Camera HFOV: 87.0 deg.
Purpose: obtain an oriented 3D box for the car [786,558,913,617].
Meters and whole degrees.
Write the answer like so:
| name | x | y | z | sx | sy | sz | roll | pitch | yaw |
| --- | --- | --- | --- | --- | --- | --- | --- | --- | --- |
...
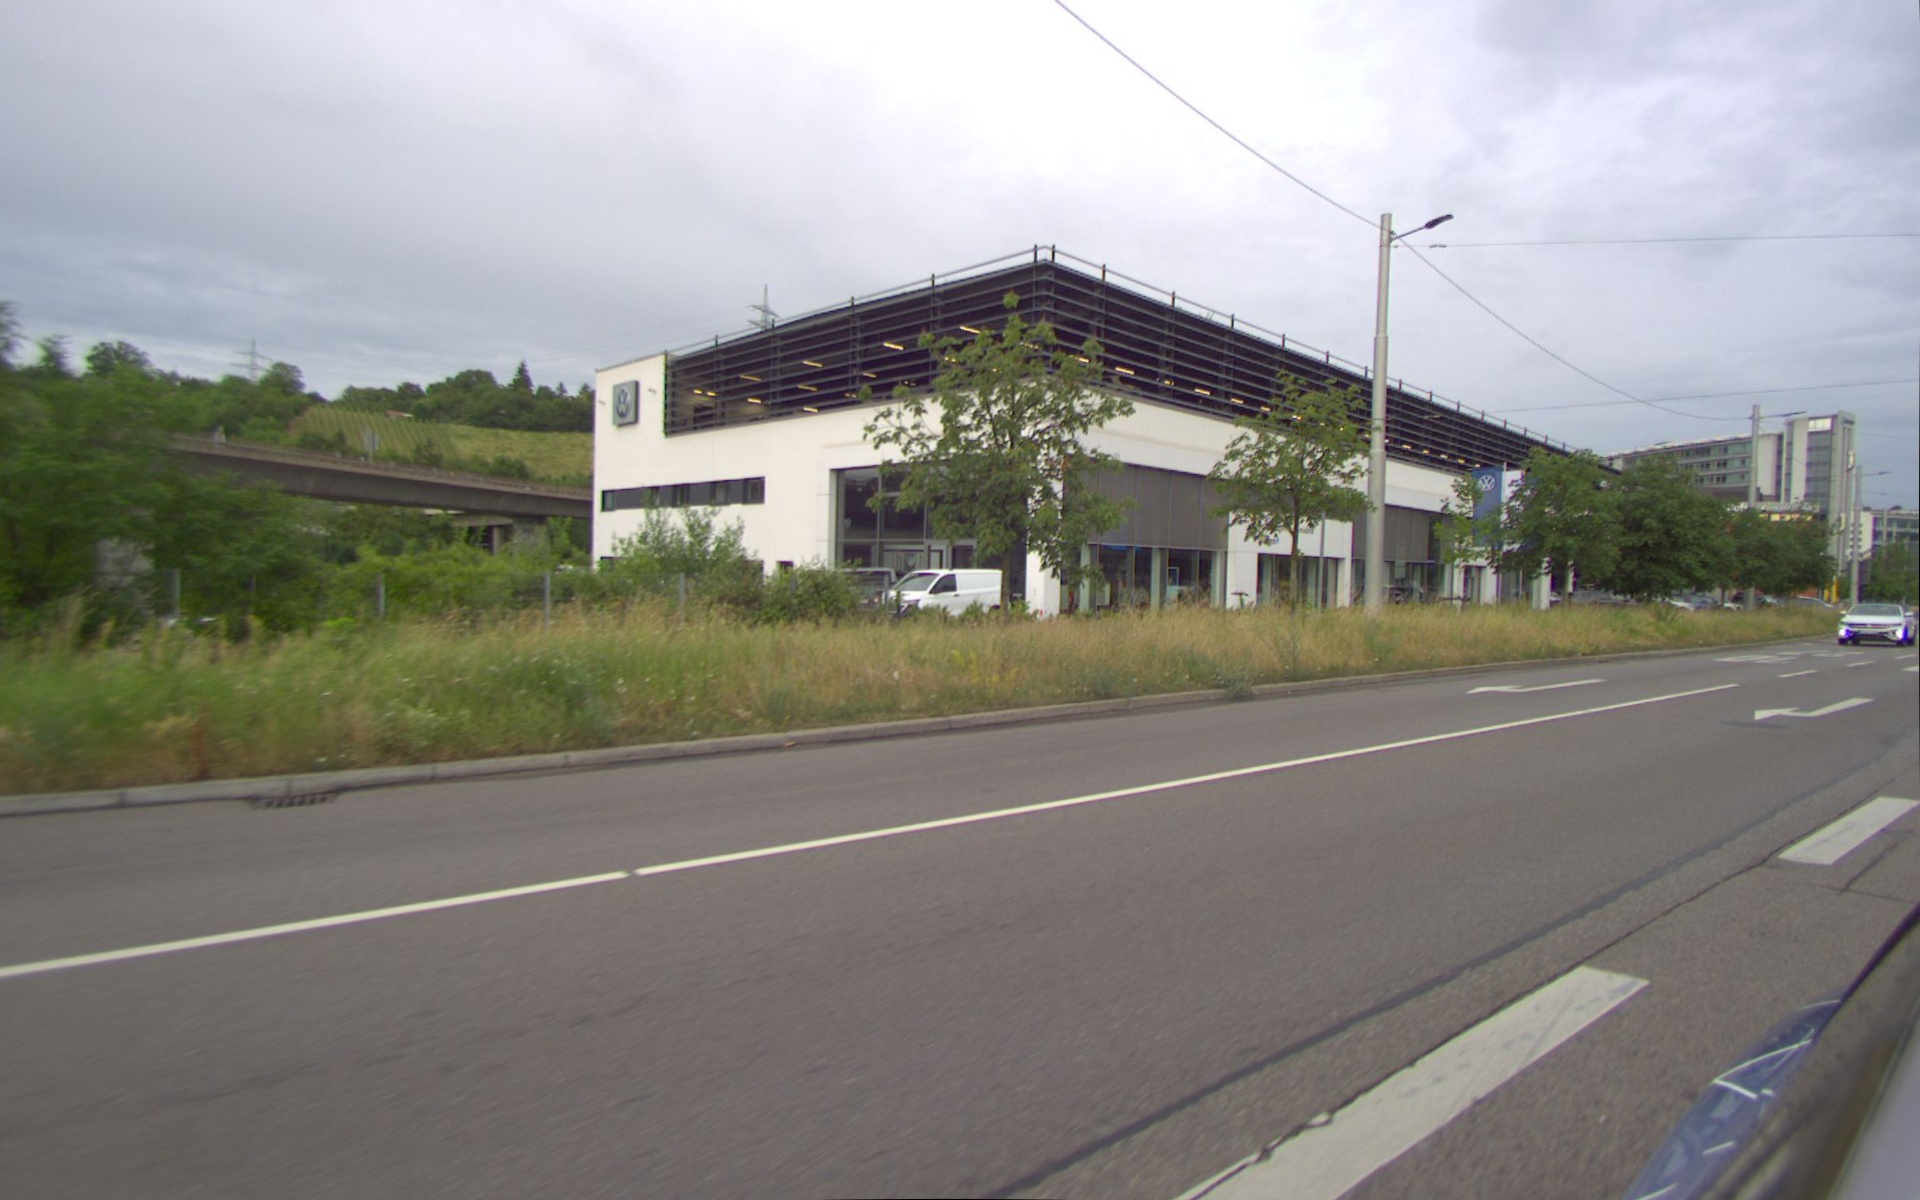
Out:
| name | x | y | z | sx | sy | sz | roll | pitch | yaw |
| --- | --- | --- | --- | --- | --- | --- | --- | --- | --- |
| car | -4.084 | -0.431 | 38.041 | 1.945 | 2.076 | 4.633 | -1 | -1 | 43 |

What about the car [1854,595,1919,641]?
| name | x | y | z | sx | sy | sz | roll | pitch | yaw |
| --- | --- | --- | --- | --- | --- | --- | --- | --- | --- |
| car | 33.036 | 0.619 | 35.740 | 3.772 | 1.513 | 1.876 | 1 | 1 | -44 |

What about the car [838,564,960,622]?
| name | x | y | z | sx | sy | sz | roll | pitch | yaw |
| --- | --- | --- | --- | --- | --- | --- | --- | --- | --- |
| car | -2.098 | -0.218 | 35.348 | 3.933 | 1.924 | 1.995 | 0 | -1 | -44 |

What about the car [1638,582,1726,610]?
| name | x | y | z | sx | sy | sz | roll | pitch | yaw |
| --- | --- | --- | --- | --- | --- | --- | --- | --- | --- |
| car | 46.764 | -0.279 | 65.614 | 4.125 | 1.587 | 1.794 | 3 | 3 | 12 |

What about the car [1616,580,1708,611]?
| name | x | y | z | sx | sy | sz | roll | pitch | yaw |
| --- | --- | --- | --- | --- | --- | --- | --- | --- | --- |
| car | 44.013 | -0.276 | 63.556 | 4.295 | 1.646 | 1.848 | 3 | 3 | 16 |

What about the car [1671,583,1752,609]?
| name | x | y | z | sx | sy | sz | roll | pitch | yaw |
| --- | --- | --- | --- | --- | --- | --- | --- | --- | --- |
| car | 52.415 | -0.290 | 70.658 | 4.033 | 1.587 | 1.795 | 3 | 3 | 10 |

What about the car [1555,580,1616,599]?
| name | x | y | z | sx | sy | sz | roll | pitch | yaw |
| --- | --- | --- | --- | --- | --- | --- | --- | --- | --- |
| car | 51.999 | -0.861 | 84.113 | 1.755 | 1.527 | 3.992 | 0 | -1 | -42 |

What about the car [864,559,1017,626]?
| name | x | y | z | sx | sy | sz | roll | pitch | yaw |
| --- | --- | --- | --- | --- | --- | --- | --- | --- | --- |
| car | -0.558 | -0.253 | 33.253 | 2.044 | 2.039 | 5.008 | 1 | 1 | 45 |

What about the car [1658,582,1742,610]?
| name | x | y | z | sx | sy | sz | roll | pitch | yaw |
| --- | --- | --- | --- | --- | --- | --- | --- | --- | --- |
| car | 49.578 | -0.275 | 67.877 | 4.117 | 1.587 | 1.798 | 3 | 3 | 6 |

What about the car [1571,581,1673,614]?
| name | x | y | z | sx | sy | sz | roll | pitch | yaw |
| --- | --- | --- | --- | --- | --- | --- | --- | --- | --- |
| car | 38.586 | -0.151 | 59.125 | 4.562 | 1.587 | 1.843 | 3 | 3 | 16 |

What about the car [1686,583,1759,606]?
| name | x | y | z | sx | sy | sz | roll | pitch | yaw |
| --- | --- | --- | --- | --- | --- | --- | --- | --- | --- |
| car | 58.508 | -0.432 | 77.694 | 4.039 | 1.483 | 1.742 | 3 | 3 | 13 |

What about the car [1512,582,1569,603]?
| name | x | y | z | sx | sy | sz | roll | pitch | yaw |
| --- | --- | --- | --- | --- | --- | --- | --- | --- | --- |
| car | 48.684 | -0.660 | 84.950 | 1.612 | 1.607 | 3.819 | 0 | 2 | -45 |

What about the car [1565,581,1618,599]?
| name | x | y | z | sx | sy | sz | roll | pitch | yaw |
| --- | --- | --- | --- | --- | --- | --- | --- | --- | --- |
| car | 61.039 | -0.945 | 97.824 | 1.874 | 1.555 | 3.990 | 0 | 2 | -45 |
